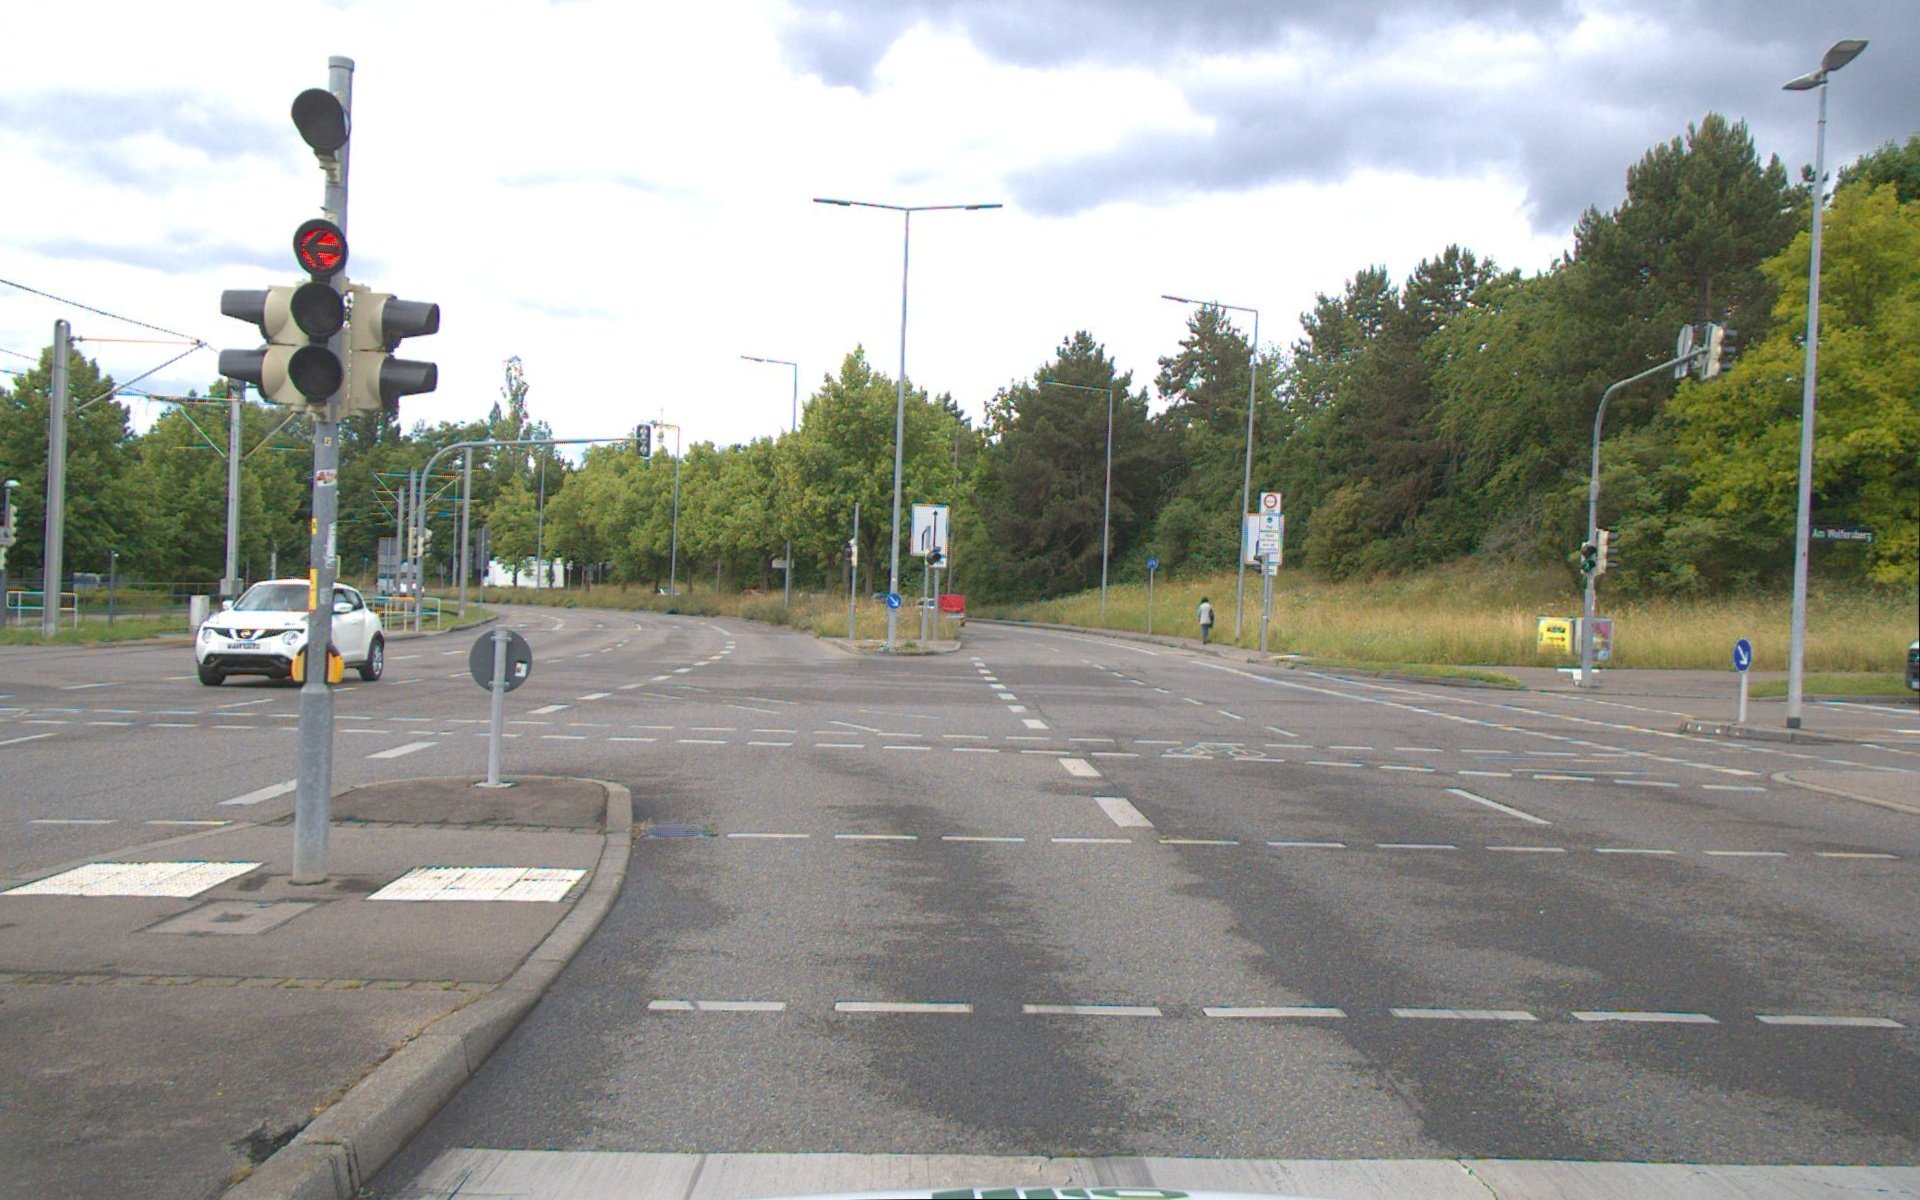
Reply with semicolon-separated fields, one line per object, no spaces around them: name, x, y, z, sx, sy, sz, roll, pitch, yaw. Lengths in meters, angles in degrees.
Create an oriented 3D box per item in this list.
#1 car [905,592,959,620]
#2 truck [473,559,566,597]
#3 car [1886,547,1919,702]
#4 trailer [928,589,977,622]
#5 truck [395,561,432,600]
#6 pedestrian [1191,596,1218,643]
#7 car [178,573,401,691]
car;-1.535;0.316;90.353;1.750;1.446;4.436;1;0;-18
truck;-40.499;-2.026;151.750;11.211;3.387;2.730;1;1;44
car;20.336;0.466;30.096;5.772;2.830;2.135;0;0;-1
trailer;-0.412;0.283;86.802;1.737;1.644;3.029;1;0;-18
truck;-45.770;-1.600;138.486;2.090;3.190;5.848;1;0;-27
pedestrian;8.648;0.679;58.480;0.797;1.656;0.790;1;0;-1
car;-10.163;0.441;25.456;1.792;1.657;4.423;0;0;-3
